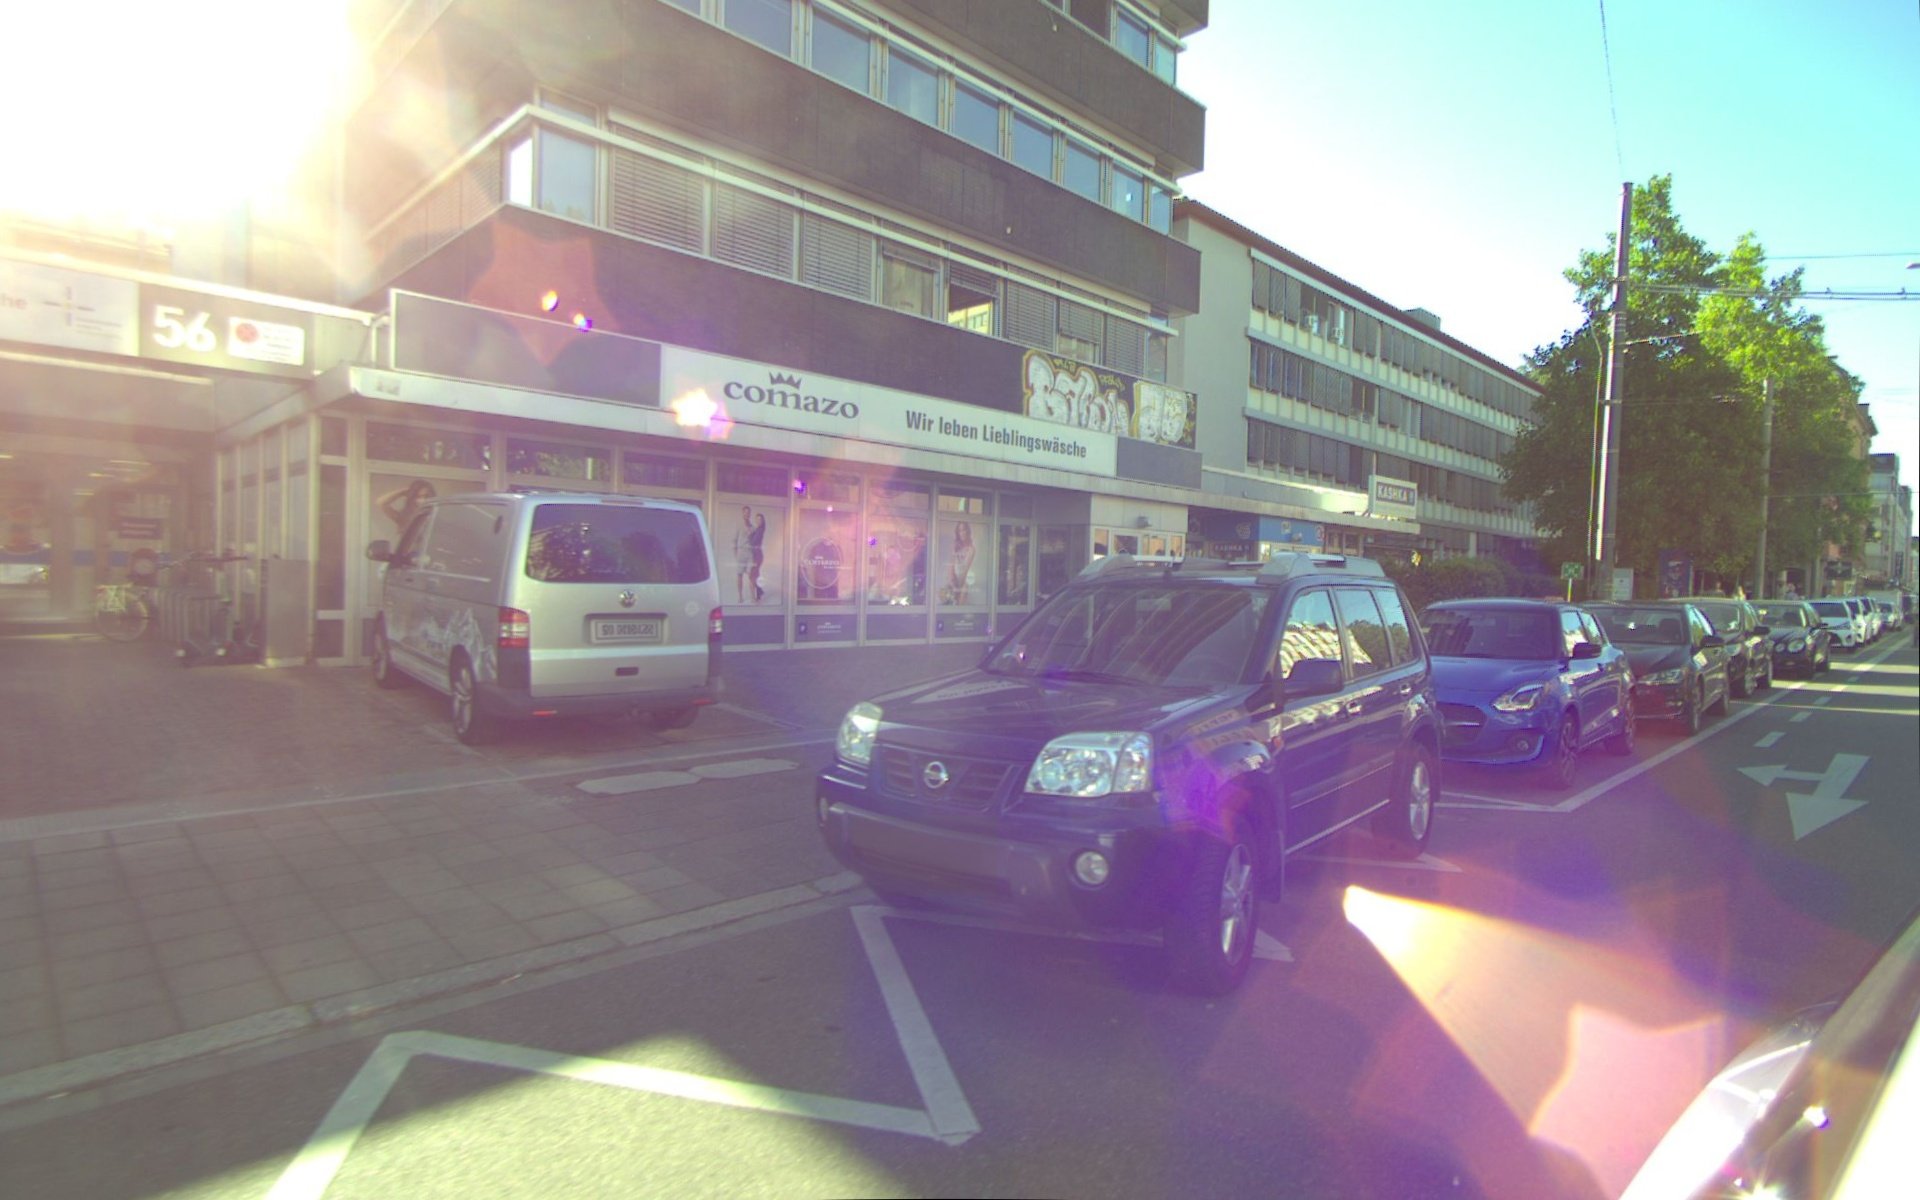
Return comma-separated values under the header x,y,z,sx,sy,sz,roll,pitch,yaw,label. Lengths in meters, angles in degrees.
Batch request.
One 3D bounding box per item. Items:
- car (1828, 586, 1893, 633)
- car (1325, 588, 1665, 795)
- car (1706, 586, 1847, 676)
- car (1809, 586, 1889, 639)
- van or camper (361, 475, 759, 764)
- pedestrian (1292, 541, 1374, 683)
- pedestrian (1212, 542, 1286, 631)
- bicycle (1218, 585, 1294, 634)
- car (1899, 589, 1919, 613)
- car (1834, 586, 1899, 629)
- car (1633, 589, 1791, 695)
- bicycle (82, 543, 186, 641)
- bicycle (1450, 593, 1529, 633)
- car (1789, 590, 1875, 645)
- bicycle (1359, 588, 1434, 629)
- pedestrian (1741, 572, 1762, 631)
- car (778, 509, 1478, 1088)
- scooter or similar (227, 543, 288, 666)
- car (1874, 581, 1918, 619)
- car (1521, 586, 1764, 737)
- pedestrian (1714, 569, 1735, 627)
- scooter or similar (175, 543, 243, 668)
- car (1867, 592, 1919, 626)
x,y,z,sx,sy,sz,roll,pitch,yaw,label
33.357,0.316,37.446,1.728,1.615,4.052,0,1,43,car
4.968,0.630,9.174,3.717,1.472,1.714,-1,1,-45,car
16.578,0.522,20.454,4.850,1.501,1.729,-2,2,-45,car
29.457,0.363,33.492,4.049,1.597,1.729,-1,1,-45,car
-3.893,-0.066,9.247,1.965,1.956,4.705,0,5,-40,van or camper
5.338,0.148,14.454,1.045,1.935,0.685,-1,1,-42,pedestrian
5.810,-0.289,20.373,0.901,1.667,1.012,-1,7,-43,pedestrian
6.307,0.188,21.612,0.334,0.933,1.572,-1,4,-44,bicycle
66.000,0.034,69.754,4.050,1.501,1.729,-2,2,-45,car
36.666,0.274,40.901,4.050,1.570,1.729,-2,2,-45,car
12.239,0.590,16.392,3.500,1.501,1.572,-1,1,-45,car
-11.154,-0.121,13.703,0.352,1.262,1.205,0,1,4,bicycle
14.201,0.329,27.178,1.809,0.933,0.400,5,5,43,bicycle
25.737,0.466,29.833,1.729,1.501,3.803,0,0,44,car
12.240,0.213,28.401,0.563,0.977,1.805,-1,5,-43,bicycle
27.465,0.036,35.133,0.565,2.039,0.507,-1,1,-44,pedestrian
1.324,0.560,5.353,1.687,1.735,4.552,0,1,38,car
-7.690,0.033,11.108,0.351,1.281,1.208,-1,1,-26,scooter or similar
54.547,-0.061,58.969,4.050,2.075,1.729,-2,2,-45,car
8.423,0.599,12.338,4.158,1.501,1.699,-1,1,-45,car
26.963,-0.071,35.681,0.565,2.039,0.507,-1,1,-44,pedestrian
-8.110,0.041,10.960,0.351,1.281,1.208,-1,1,-26,scooter or similar
45.297,0.408,49.092,4.049,1.501,1.730,-2,2,-45,car
